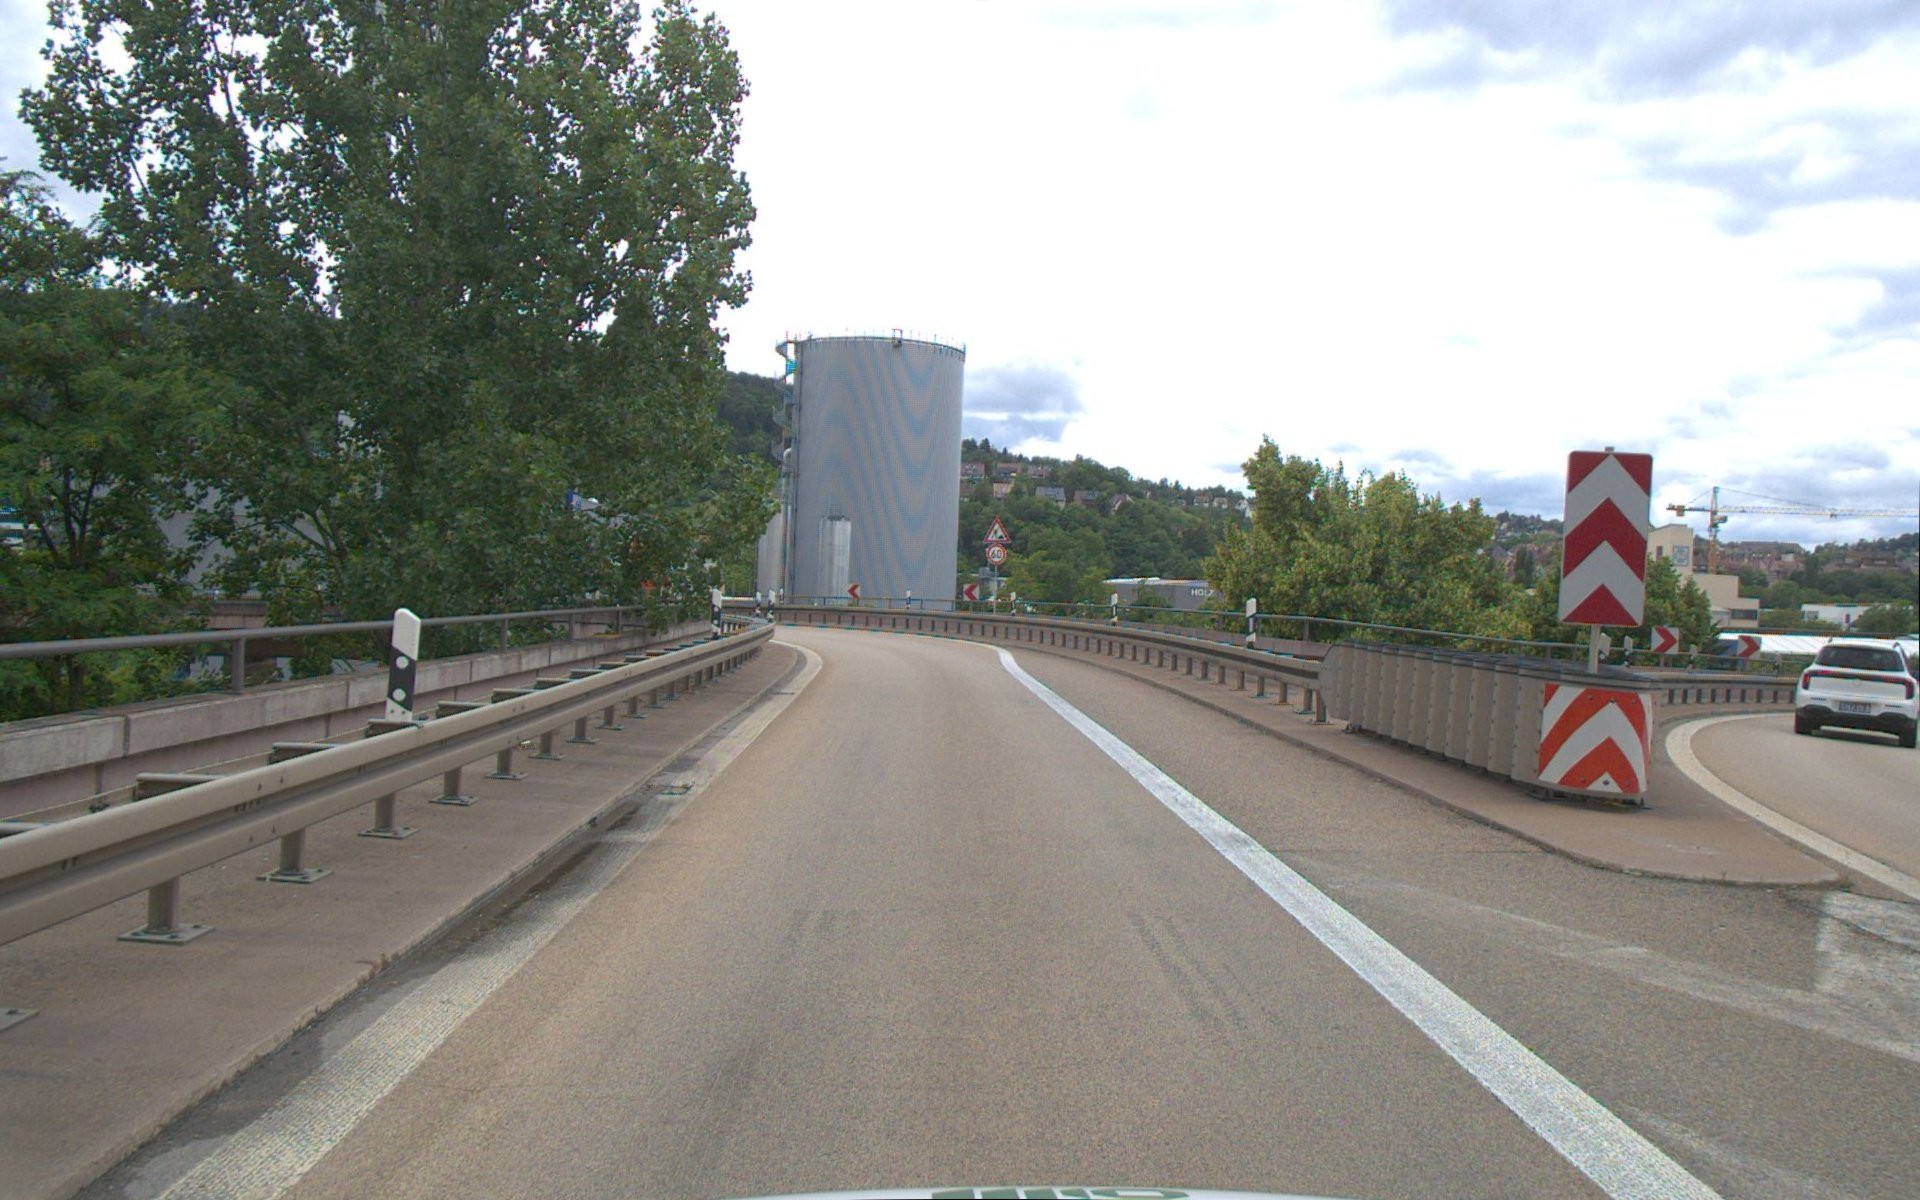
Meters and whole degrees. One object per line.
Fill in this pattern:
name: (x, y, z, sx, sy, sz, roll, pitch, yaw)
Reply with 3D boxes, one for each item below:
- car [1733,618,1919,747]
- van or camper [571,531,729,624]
car: (15.225, 1.364, 28.990, 1.884, 1.815, 4.117, 6, 2, 10)
van or camper: (-12.996, -0.932, 68.737, 3.098, 3.641, 8.438, 0, 1, -37)
